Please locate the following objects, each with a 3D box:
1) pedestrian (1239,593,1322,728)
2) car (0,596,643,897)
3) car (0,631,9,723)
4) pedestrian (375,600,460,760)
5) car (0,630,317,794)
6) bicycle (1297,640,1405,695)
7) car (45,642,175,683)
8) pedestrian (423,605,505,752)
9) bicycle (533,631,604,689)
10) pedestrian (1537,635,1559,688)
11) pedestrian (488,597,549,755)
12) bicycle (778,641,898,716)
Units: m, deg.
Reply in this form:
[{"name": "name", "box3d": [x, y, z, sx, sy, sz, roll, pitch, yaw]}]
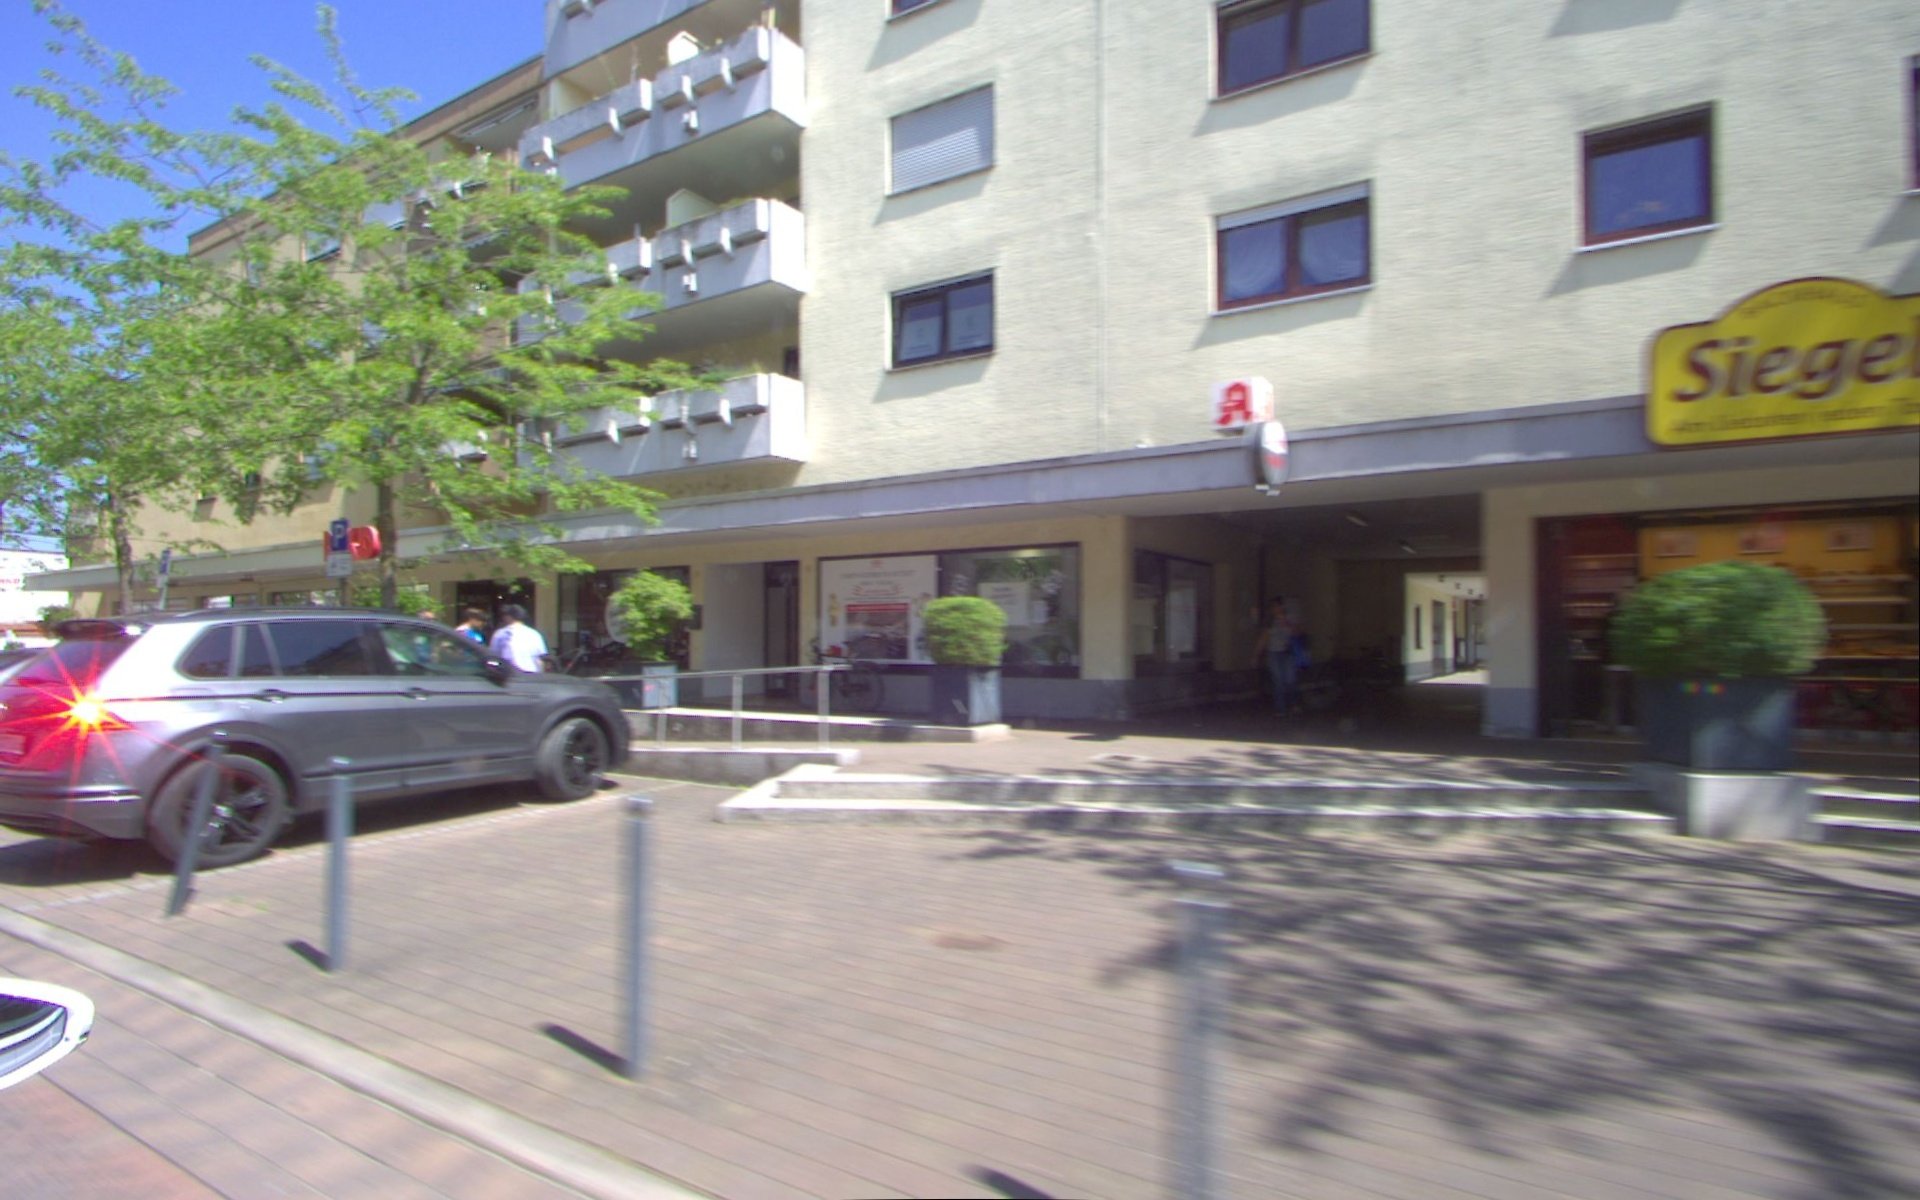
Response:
[{"name": "pedestrian", "box3d": [4.454, 0.830, 13.923, 0.860, 1.803, 0.754, -1, -1, 39]}, {"name": "car", "box3d": [-4.696, 0.863, 7.742, 1.731, 1.638, 4.238, -1, -2, 30]}, {"name": "car", "box3d": [-18.819, 1.364, 16.710, 1.657, 1.633, 4.018, 1, 0, 33]}, {"name": "pedestrian", "box3d": [-6.356, 0.923, 11.748, 0.594, 1.819, 0.628, 0, -2, 11]}, {"name": "car", "box3d": [-9.925, 1.145, 11.474, 1.854, 1.482, 4.385, -1, 0, 8]}, {"name": "bicycle", "box3d": [8.536, 1.453, 21.928, 2.110, 1.155, 0.653, -2, -2, 33]}, {"name": "car", "box3d": [-33.519, 2.432, 39.578, 1.631, 1.470, 3.609, 0, -2, 32]}, {"name": "pedestrian", "box3d": [-6.299, 0.980, 12.720, 0.676, 1.795, 0.630, -1, -2, 25]}, {"name": "bicycle", "box3d": [-7.383, 1.135, 18.888, 1.290, 1.080, 0.361, -1, -3, 17]}, {"name": "pedestrian", "box3d": [16.132, 1.689, 27.494, 0.470, 1.443, 0.413, -1, -2, 28]}, {"name": "pedestrian", "box3d": [-5.088, 0.866, 11.552, 0.606, 1.752, 0.646, 1, -3, -24]}, {"name": "bicycle", "box3d": [-1.885, 1.187, 15.379, 1.840, 1.095, 0.640, -2, -3, 32]}]
